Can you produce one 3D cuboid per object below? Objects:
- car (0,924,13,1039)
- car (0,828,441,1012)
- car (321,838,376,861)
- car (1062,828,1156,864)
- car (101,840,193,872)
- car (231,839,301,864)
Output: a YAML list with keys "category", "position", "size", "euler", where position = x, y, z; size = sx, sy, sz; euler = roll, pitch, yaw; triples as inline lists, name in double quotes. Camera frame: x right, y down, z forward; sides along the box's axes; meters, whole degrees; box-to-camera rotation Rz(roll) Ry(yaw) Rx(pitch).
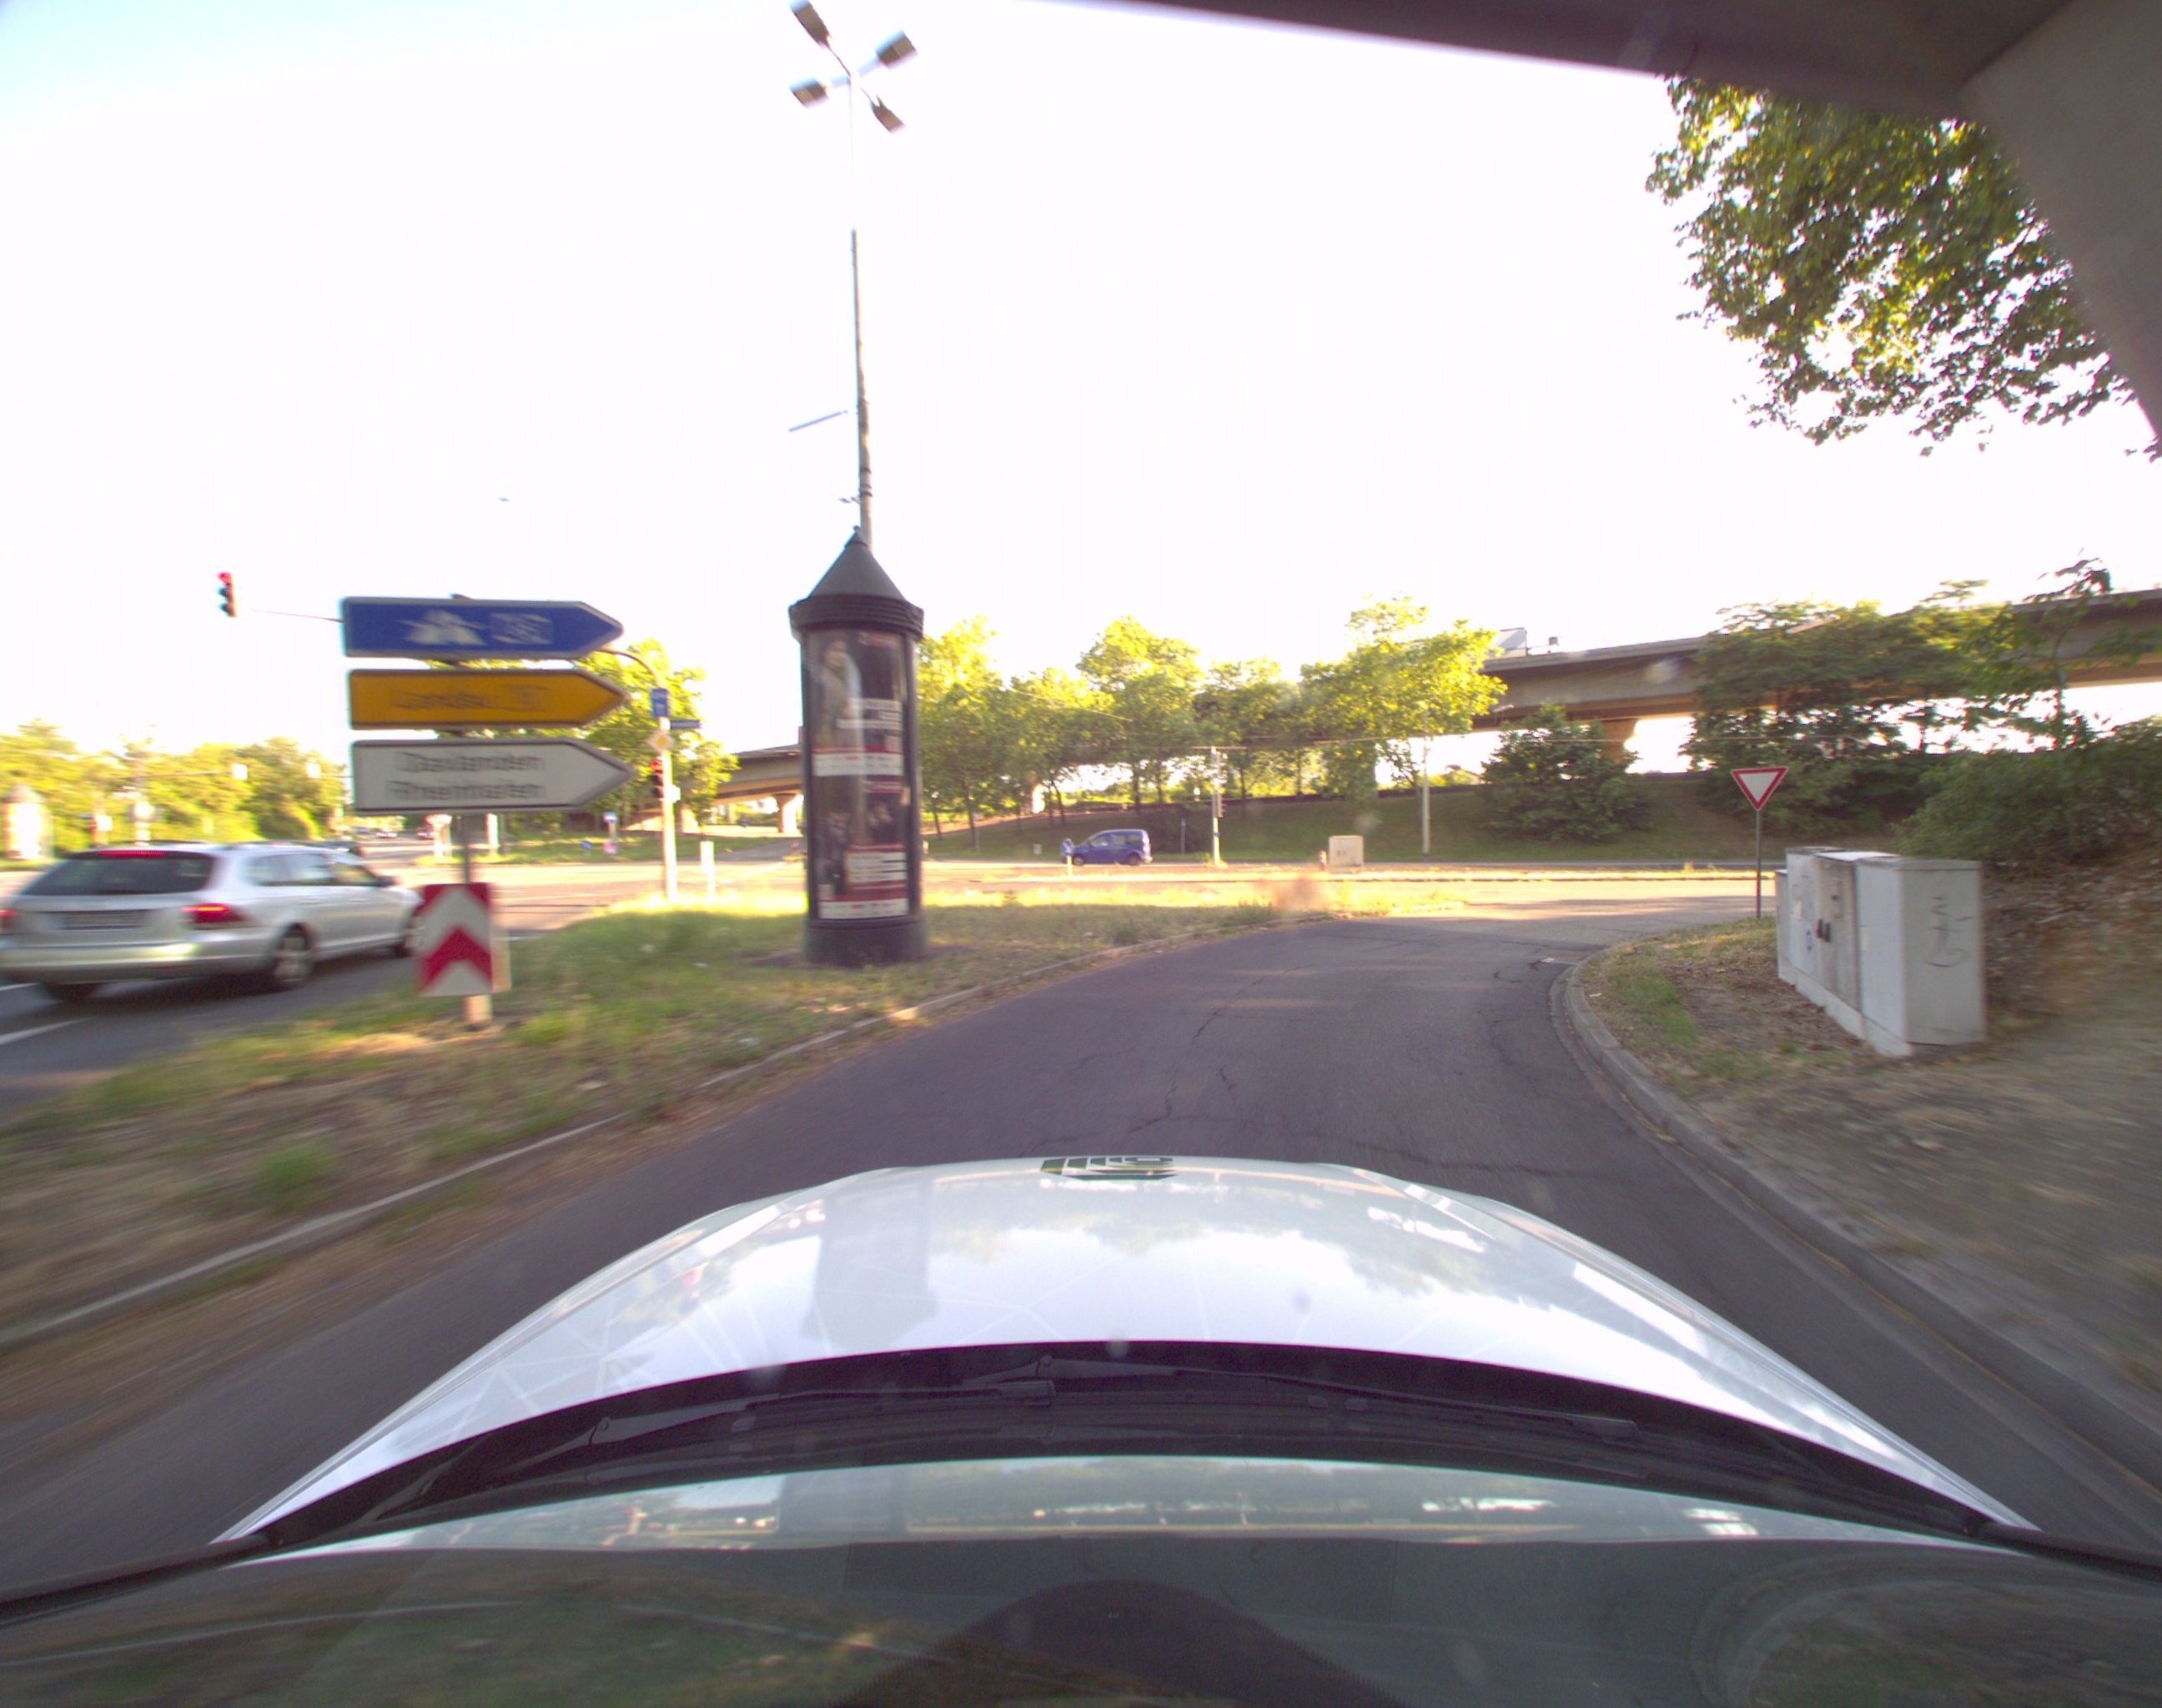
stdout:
- category: "car"
  position: [-6.984, 0.624, 2.778]
  size: [1.798, 1.382, 4.448]
  euler: [-4, 4, -19]
- category: "car"
  position: [-8.928, 0.515, 8.879]
  size: [1.798, 1.441, 3.974]
  euler: [-4, 2, -19]
- category: "car"
  position: [-57.748, -0.386, 64.280]
  size: [1.885, 1.771, 3.972]
  euler: [-1, 1, -21]
- category: "car"
  position: [1.370, -0.384, 39.940]
  size: [4.488, 1.692, 2.000]
  euler: [0, 1, 0]
- category: "car"
  position: [-55.376, 0.073, 48.399]
  size: [1.885, 1.771, 3.972]
  euler: [-1, 1, -21]
- category: "car"
  position: [-53.427, -0.188, 53.492]
  size: [1.885, 1.575, 3.649]
  euler: [-1, 1, -21]
